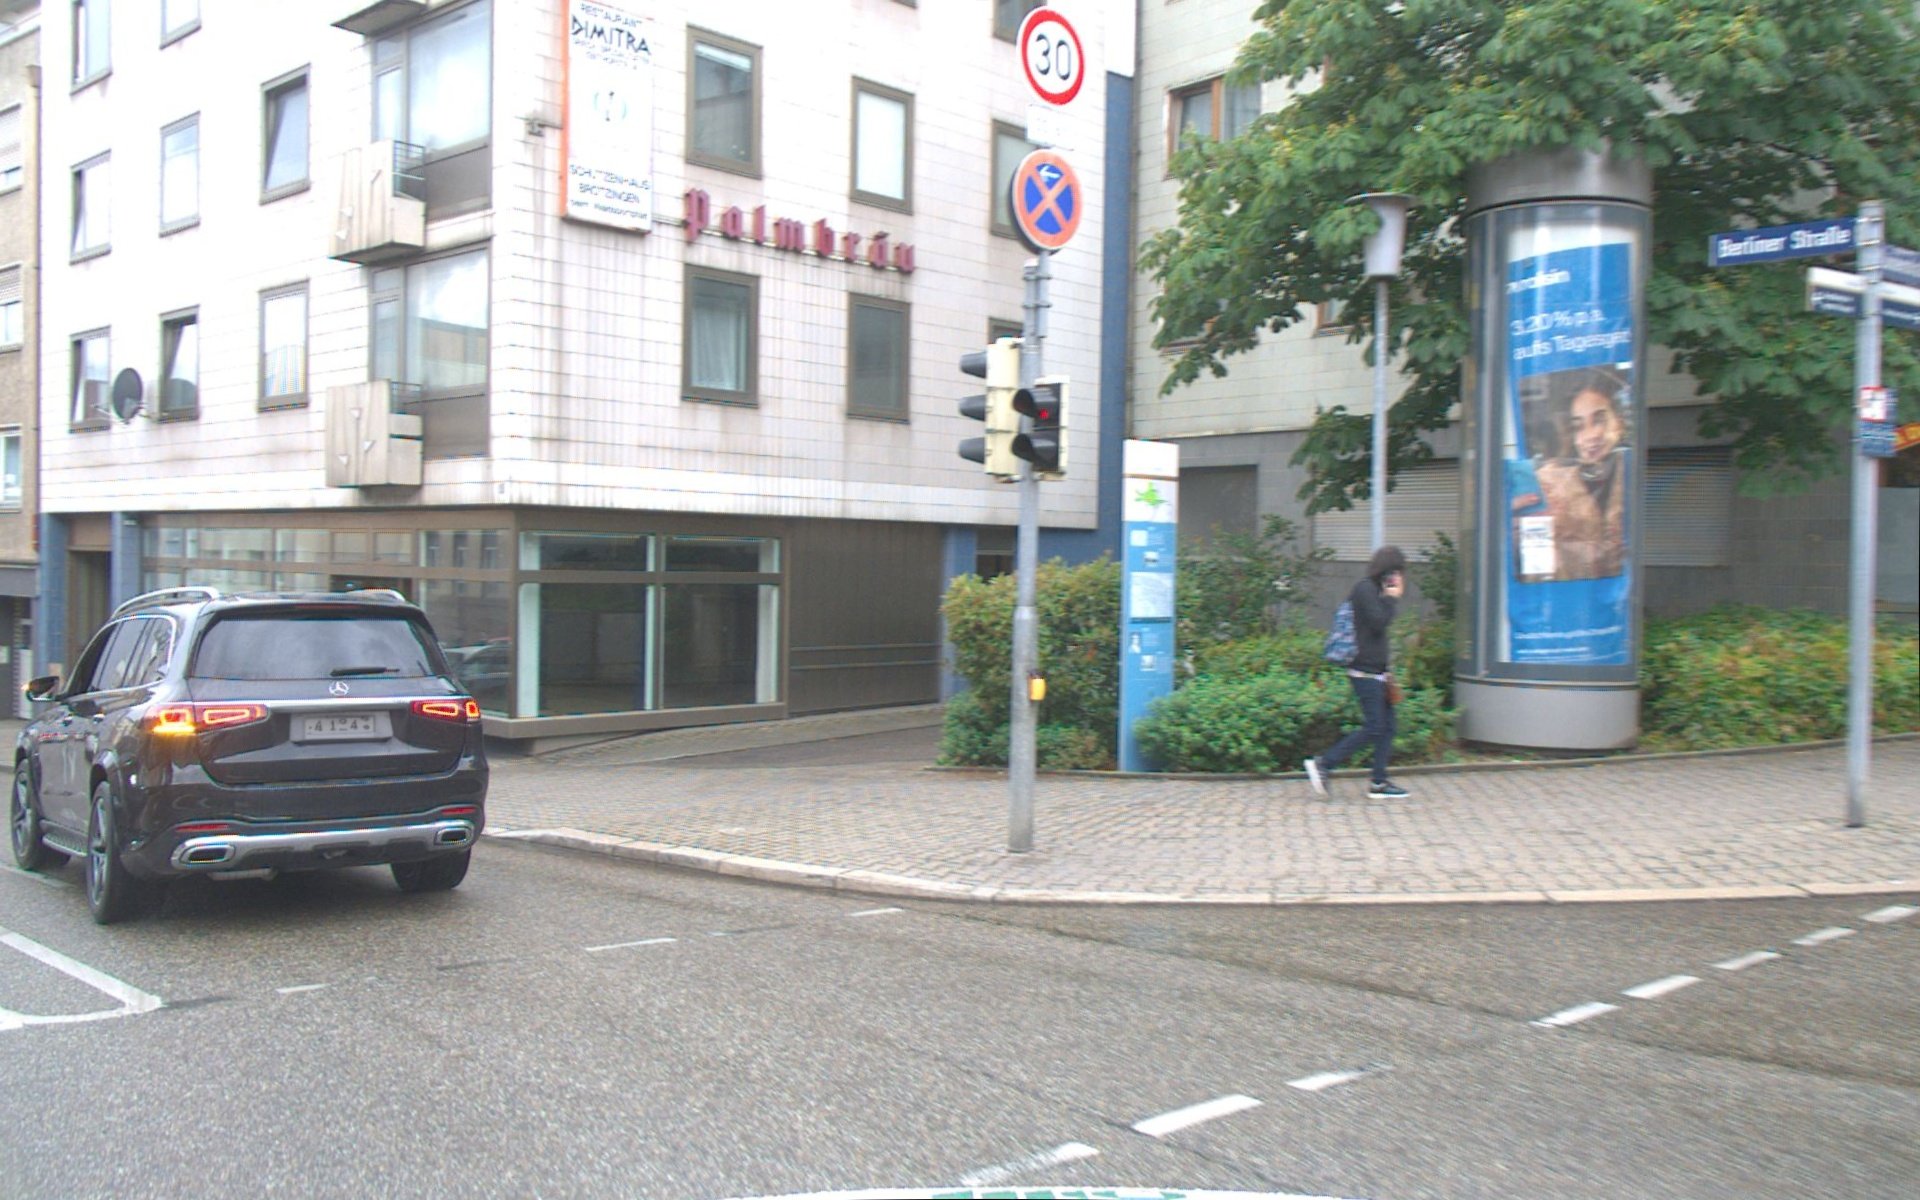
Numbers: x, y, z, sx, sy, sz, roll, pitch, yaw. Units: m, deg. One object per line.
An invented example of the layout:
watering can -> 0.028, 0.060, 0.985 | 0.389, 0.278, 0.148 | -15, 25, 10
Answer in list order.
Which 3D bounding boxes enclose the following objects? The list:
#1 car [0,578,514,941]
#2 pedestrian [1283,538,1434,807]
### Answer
car -> -4.715, 0.892, 10.578 | 2.006, 1.770, 4.683 | 1, -3, -37
pedestrian -> 2.875, 0.489, 12.007 | 0.739, 1.849, 0.915 | -2, 2, -10
